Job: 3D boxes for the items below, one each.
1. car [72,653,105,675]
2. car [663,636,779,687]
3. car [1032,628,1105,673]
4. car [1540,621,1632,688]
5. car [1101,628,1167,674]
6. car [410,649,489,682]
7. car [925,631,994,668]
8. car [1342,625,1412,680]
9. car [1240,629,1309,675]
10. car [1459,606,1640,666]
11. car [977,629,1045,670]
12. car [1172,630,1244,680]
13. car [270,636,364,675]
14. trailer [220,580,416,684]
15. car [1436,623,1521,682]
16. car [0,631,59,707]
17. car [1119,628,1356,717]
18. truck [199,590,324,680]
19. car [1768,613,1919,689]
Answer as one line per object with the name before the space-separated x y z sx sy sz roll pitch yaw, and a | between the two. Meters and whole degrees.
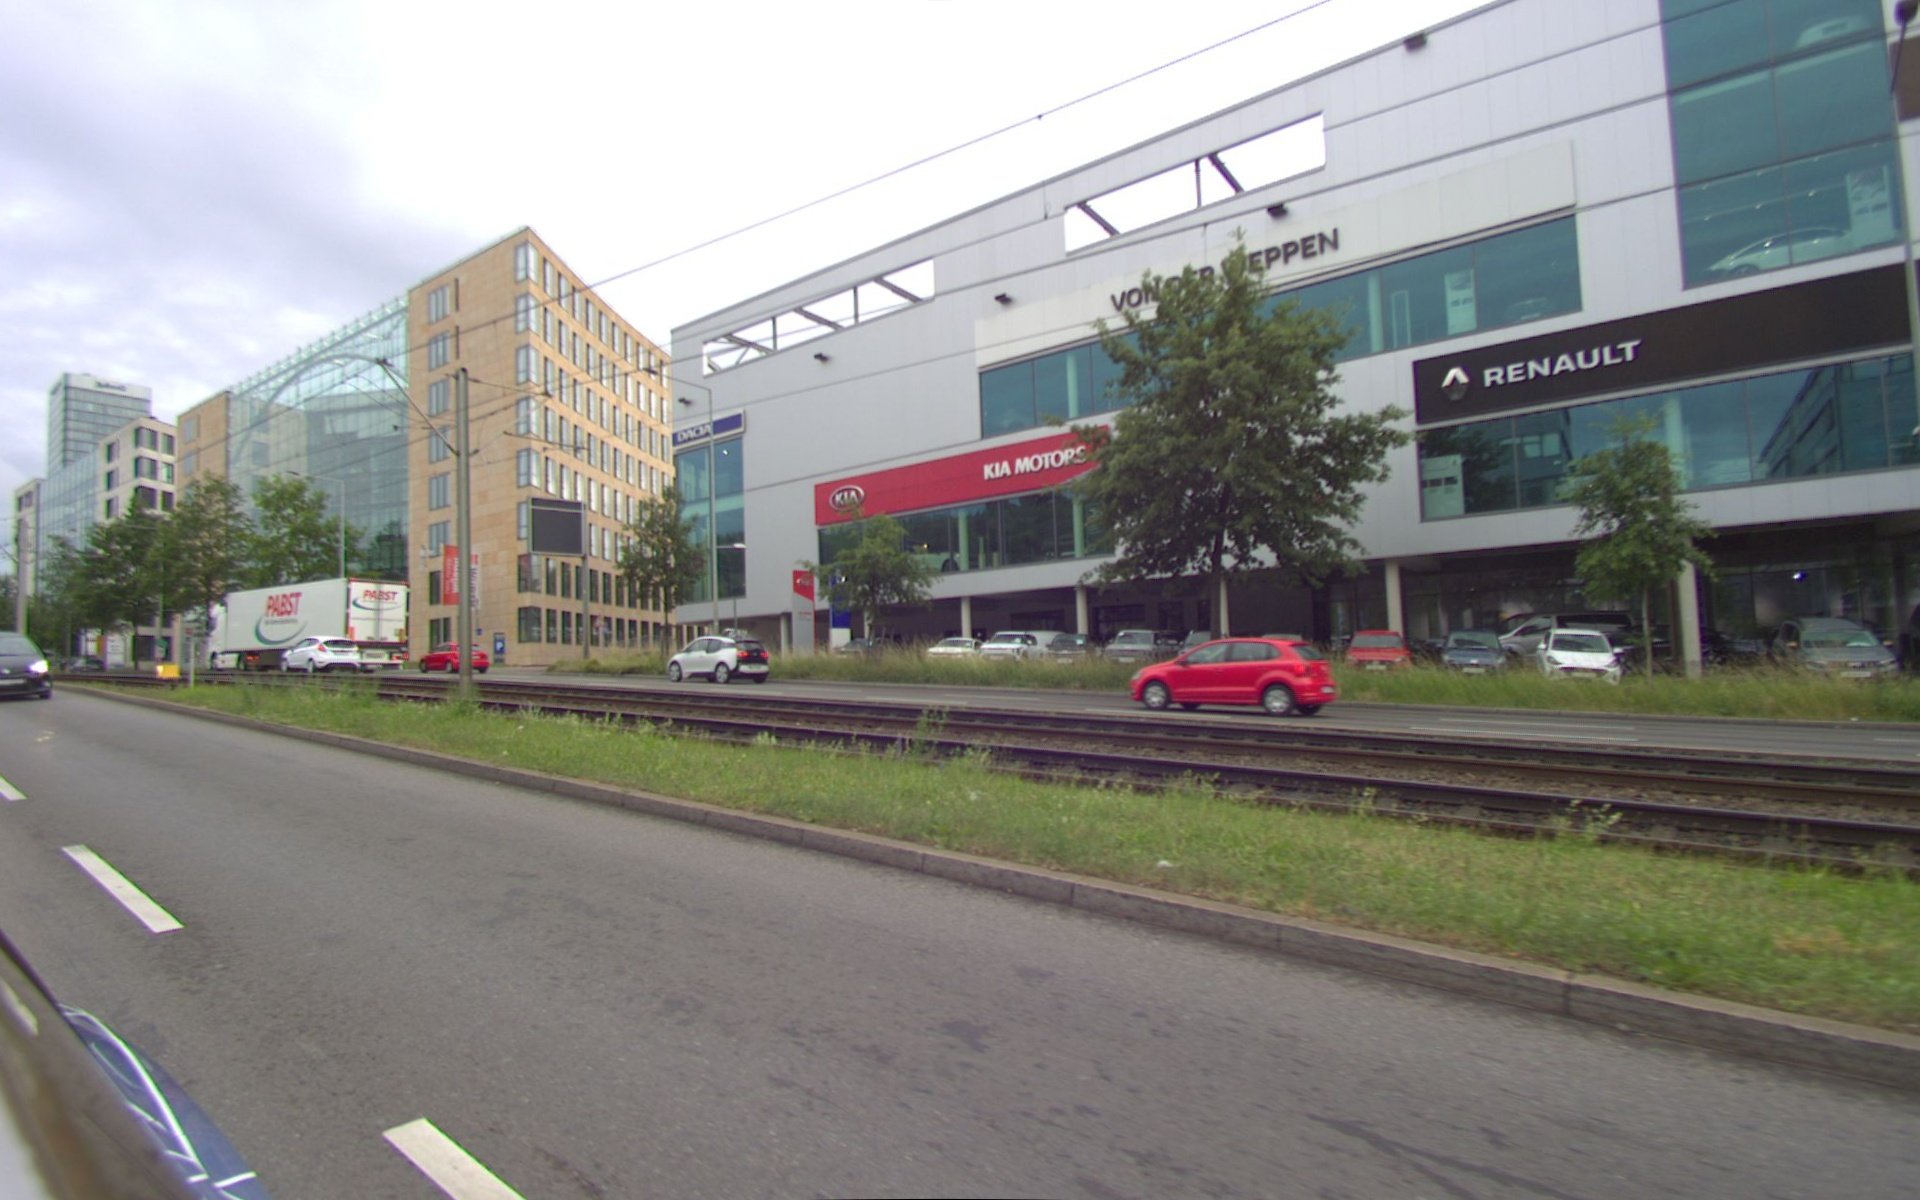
car | -70.025 5.111 81.331 4.000 1.630 1.608 -2 -2 43
car | -8.135 2.045 34.264 4.094 1.593 1.668 -2 -2 38
car | 4.010 1.806 36.901 1.688 1.362 3.499 -2 1 23
car | 16.722 1.403 27.184 1.914 1.470 4.005 -2 1 30
car | 6.162 1.770 35.580 1.686 1.362 3.503 -2 1 20
car | -23.308 2.954 46.172 4.019 1.380 1.668 -2 -2 38
car | 0.022 1.968 40.517 1.685 1.196 3.643 -2 1 18
car | 12.521 1.539 30.327 1.789 1.362 3.903 -2 1 24
car | 10.031 1.628 32.178 1.689 1.190 3.498 -2 1 24
car | 18.740 1.148 32.331 4.489 1.796 1.997 -1 -2 5
car | 2.008 1.881 38.836 1.685 1.304 3.642 -2 1 18
car | 8.288 1.795 33.642 1.689 1.362 3.498 -2 1 24
car | -24.979 2.133 39.263 4.091 1.447 1.668 -2 -4 36
trailer | -30.561 1.607 47.783 13.255 4.363 3.105 -2 -5 36
car | 14.852 1.444 28.885 1.914 1.362 4.005 -2 1 30
car | -21.332 1.489 22.304 3.823 1.544 1.683 -2 -2 40
car | 5.224 1.344 19.377 4.098 1.524 1.568 -2 -4 40
truck | -35.552 1.860 51.434 7.017 4.276 3.105 -2 -5 38
car | 20.619 1.125 23.800 1.925 1.470 3.981 -2 1 30
